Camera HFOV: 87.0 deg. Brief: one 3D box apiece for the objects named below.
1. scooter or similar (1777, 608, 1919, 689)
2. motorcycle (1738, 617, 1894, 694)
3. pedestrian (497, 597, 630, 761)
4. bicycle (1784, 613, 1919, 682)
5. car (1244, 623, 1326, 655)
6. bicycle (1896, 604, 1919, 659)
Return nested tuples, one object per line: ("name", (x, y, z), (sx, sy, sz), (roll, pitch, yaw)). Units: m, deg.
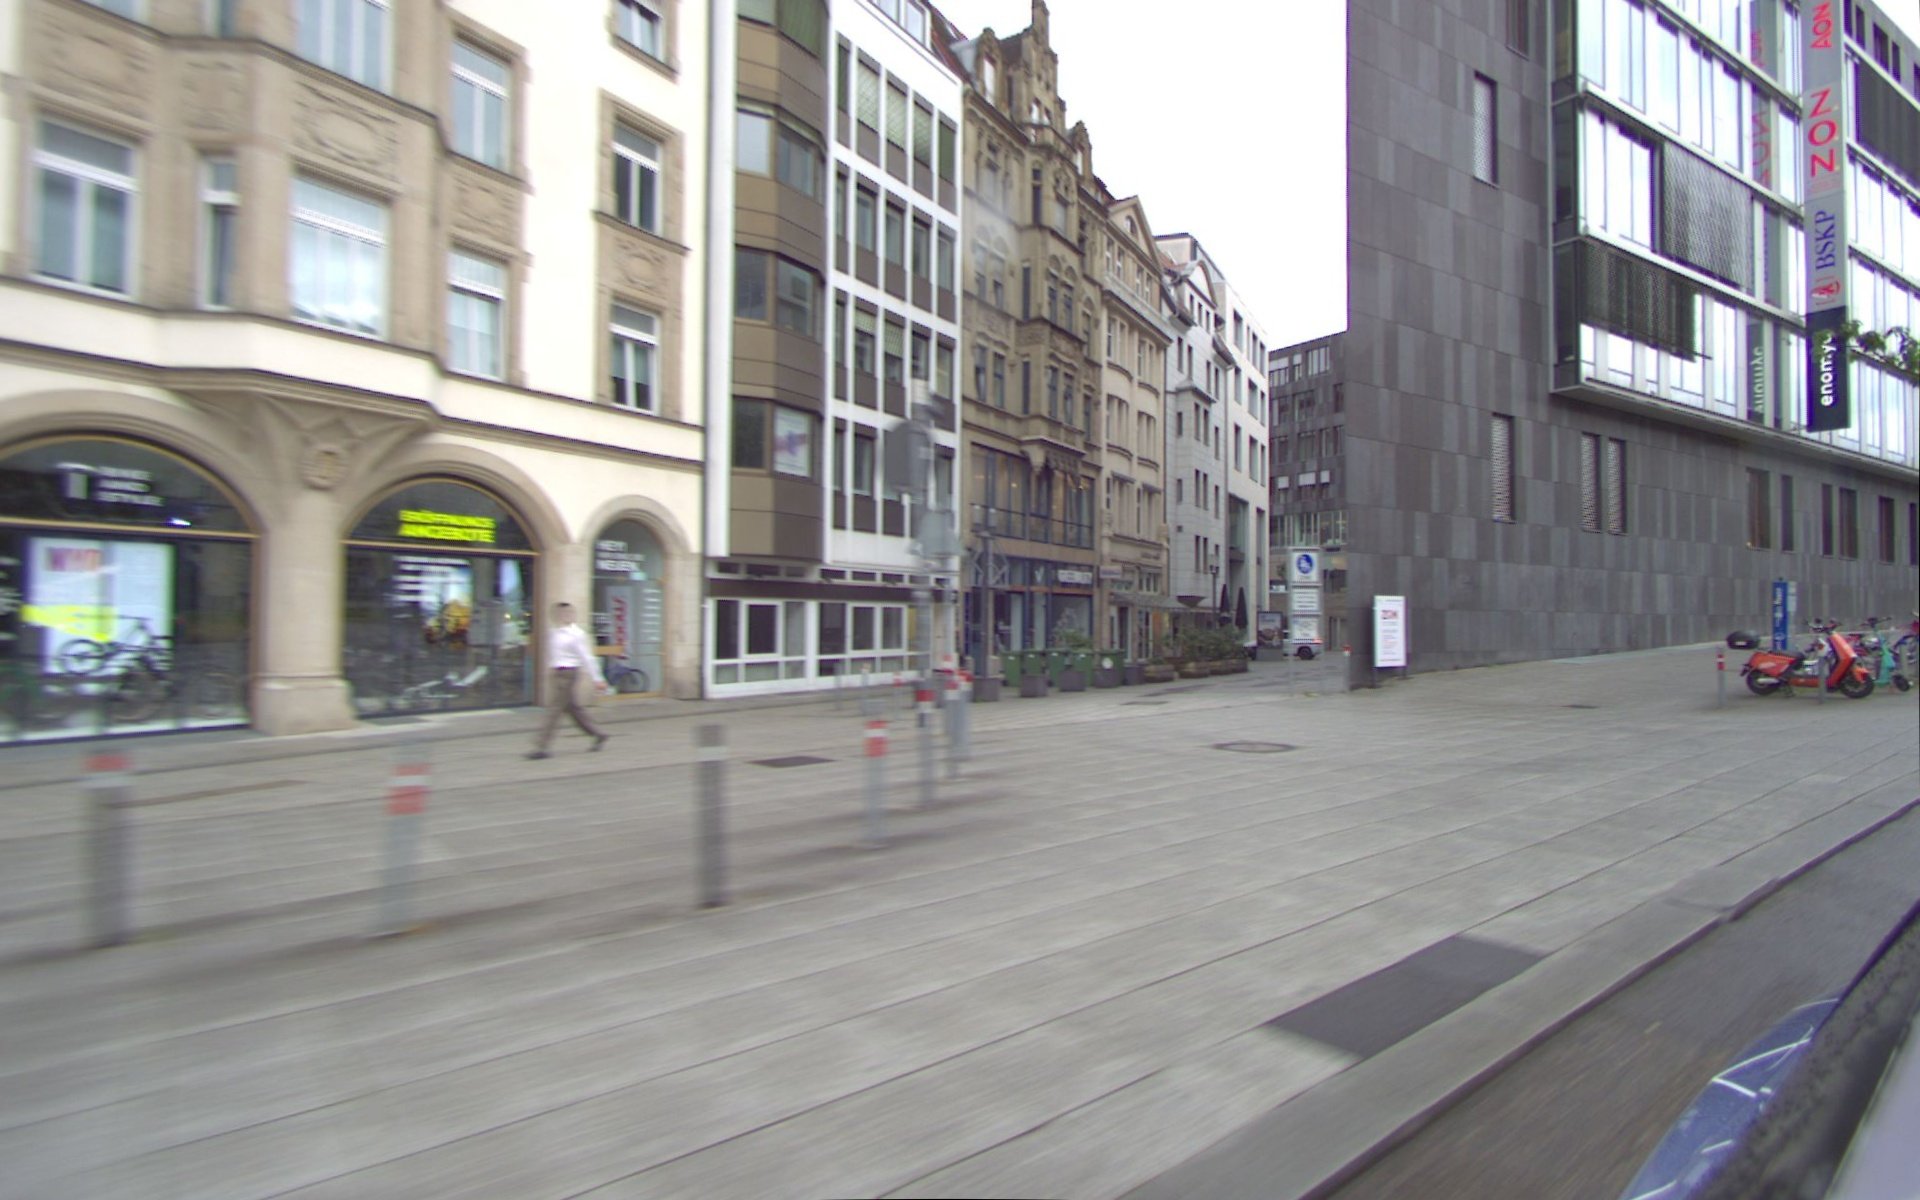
("scooter or similar", (14.797, 0.798, 16.790), (0.585, 1.259, 1.796), (-1, -1, -36))
("motorcycle", (13.793, 0.885, 16.365), (0.585, 1.154, 1.796), (-1, -1, -36))
("pedestrian", (-4.826, 0.917, 12.338), (0.871, 1.861, 1.230), (-4, -2, 44))
("bicycle", (15.785, 0.828, 17.840), (0.657, 1.122, 1.799), (-1, -1, -37))
("car", (17.520, 2.102, 54.525), (4.024, 1.639, 1.690), (-2, -2, 24))
("bicycle", (20.300, 0.632, 20.535), (0.657, 1.122, 1.799), (-1, -1, -37))
